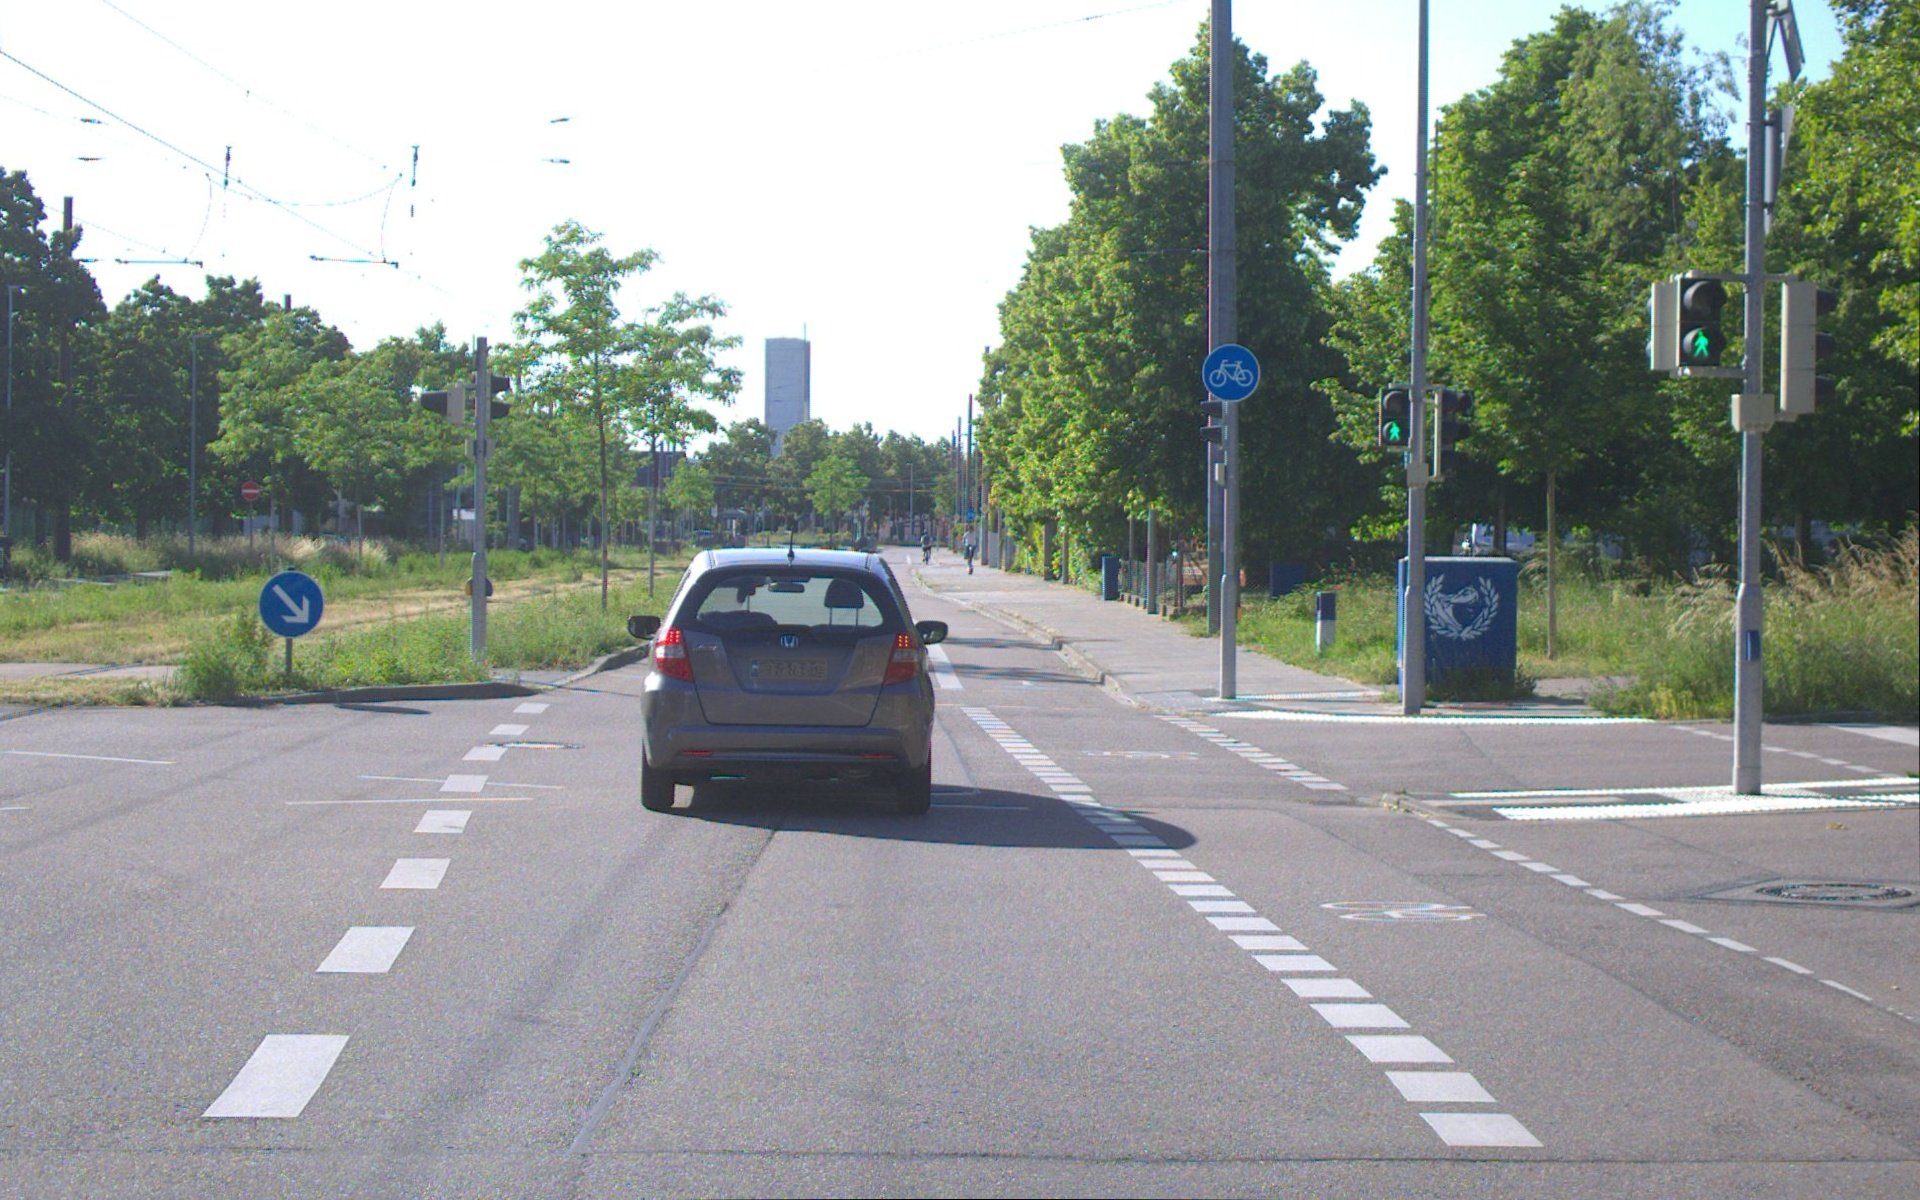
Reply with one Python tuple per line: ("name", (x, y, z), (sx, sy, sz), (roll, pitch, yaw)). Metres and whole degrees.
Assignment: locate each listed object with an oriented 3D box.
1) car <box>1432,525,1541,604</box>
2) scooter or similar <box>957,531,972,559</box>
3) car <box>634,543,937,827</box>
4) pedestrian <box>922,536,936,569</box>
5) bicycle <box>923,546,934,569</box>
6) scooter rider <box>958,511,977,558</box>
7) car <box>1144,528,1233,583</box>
("car", (13.688, -0.951, 89.587), (1.872, 1.960, 5.167), (1, 1, -1))
("scooter or similar", (0.178, -2.226, 138.452), (0.539, 1.114, 1.417), (1, 1, -3))
("car", (-0.978, 0.442, 20.752), (1.624, 1.494, 3.457), (2, 1, 0))
("pedestrian", (-1.717, -2.647, 190.009), (0.722, 1.794, 1.165), (0, 1, -2))
("bicycle", (-1.750, -2.358, 189.755), (0.512, 1.237, 3.090), (0, 1, -2))
("scooter rider", (0.305, -2.628, 138.486), (0.716, 1.894, 0.935), (1, 1, -3))
("car", (5.931, -1.182, 89.731), (1.774, 1.382, 3.871), (0, 1, -4))
